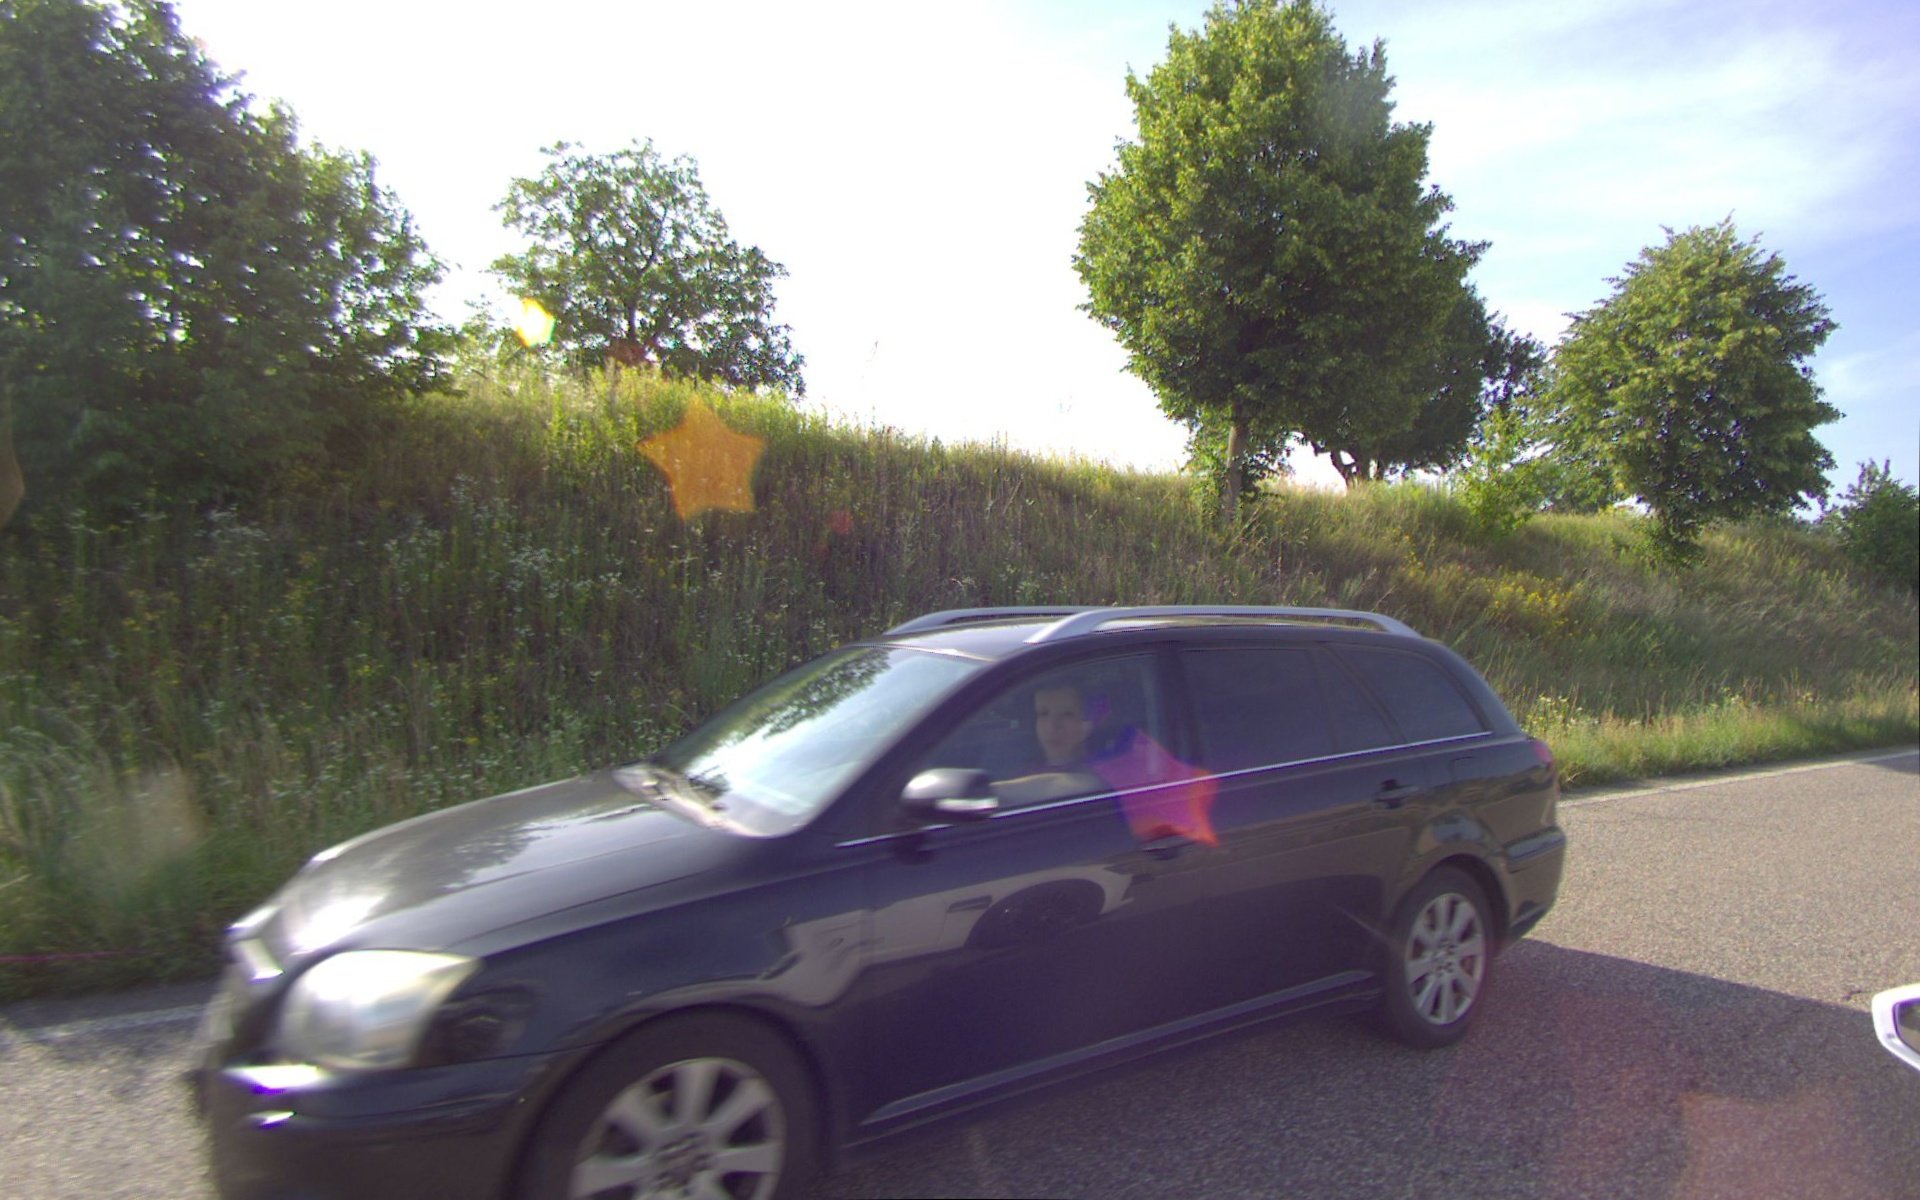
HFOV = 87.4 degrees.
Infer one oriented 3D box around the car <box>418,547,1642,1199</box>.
[{"bbox_3d":[0.479,0.737,3.674,4.262,1.567,1.734,1,-1,-31],"label":"car"}]
